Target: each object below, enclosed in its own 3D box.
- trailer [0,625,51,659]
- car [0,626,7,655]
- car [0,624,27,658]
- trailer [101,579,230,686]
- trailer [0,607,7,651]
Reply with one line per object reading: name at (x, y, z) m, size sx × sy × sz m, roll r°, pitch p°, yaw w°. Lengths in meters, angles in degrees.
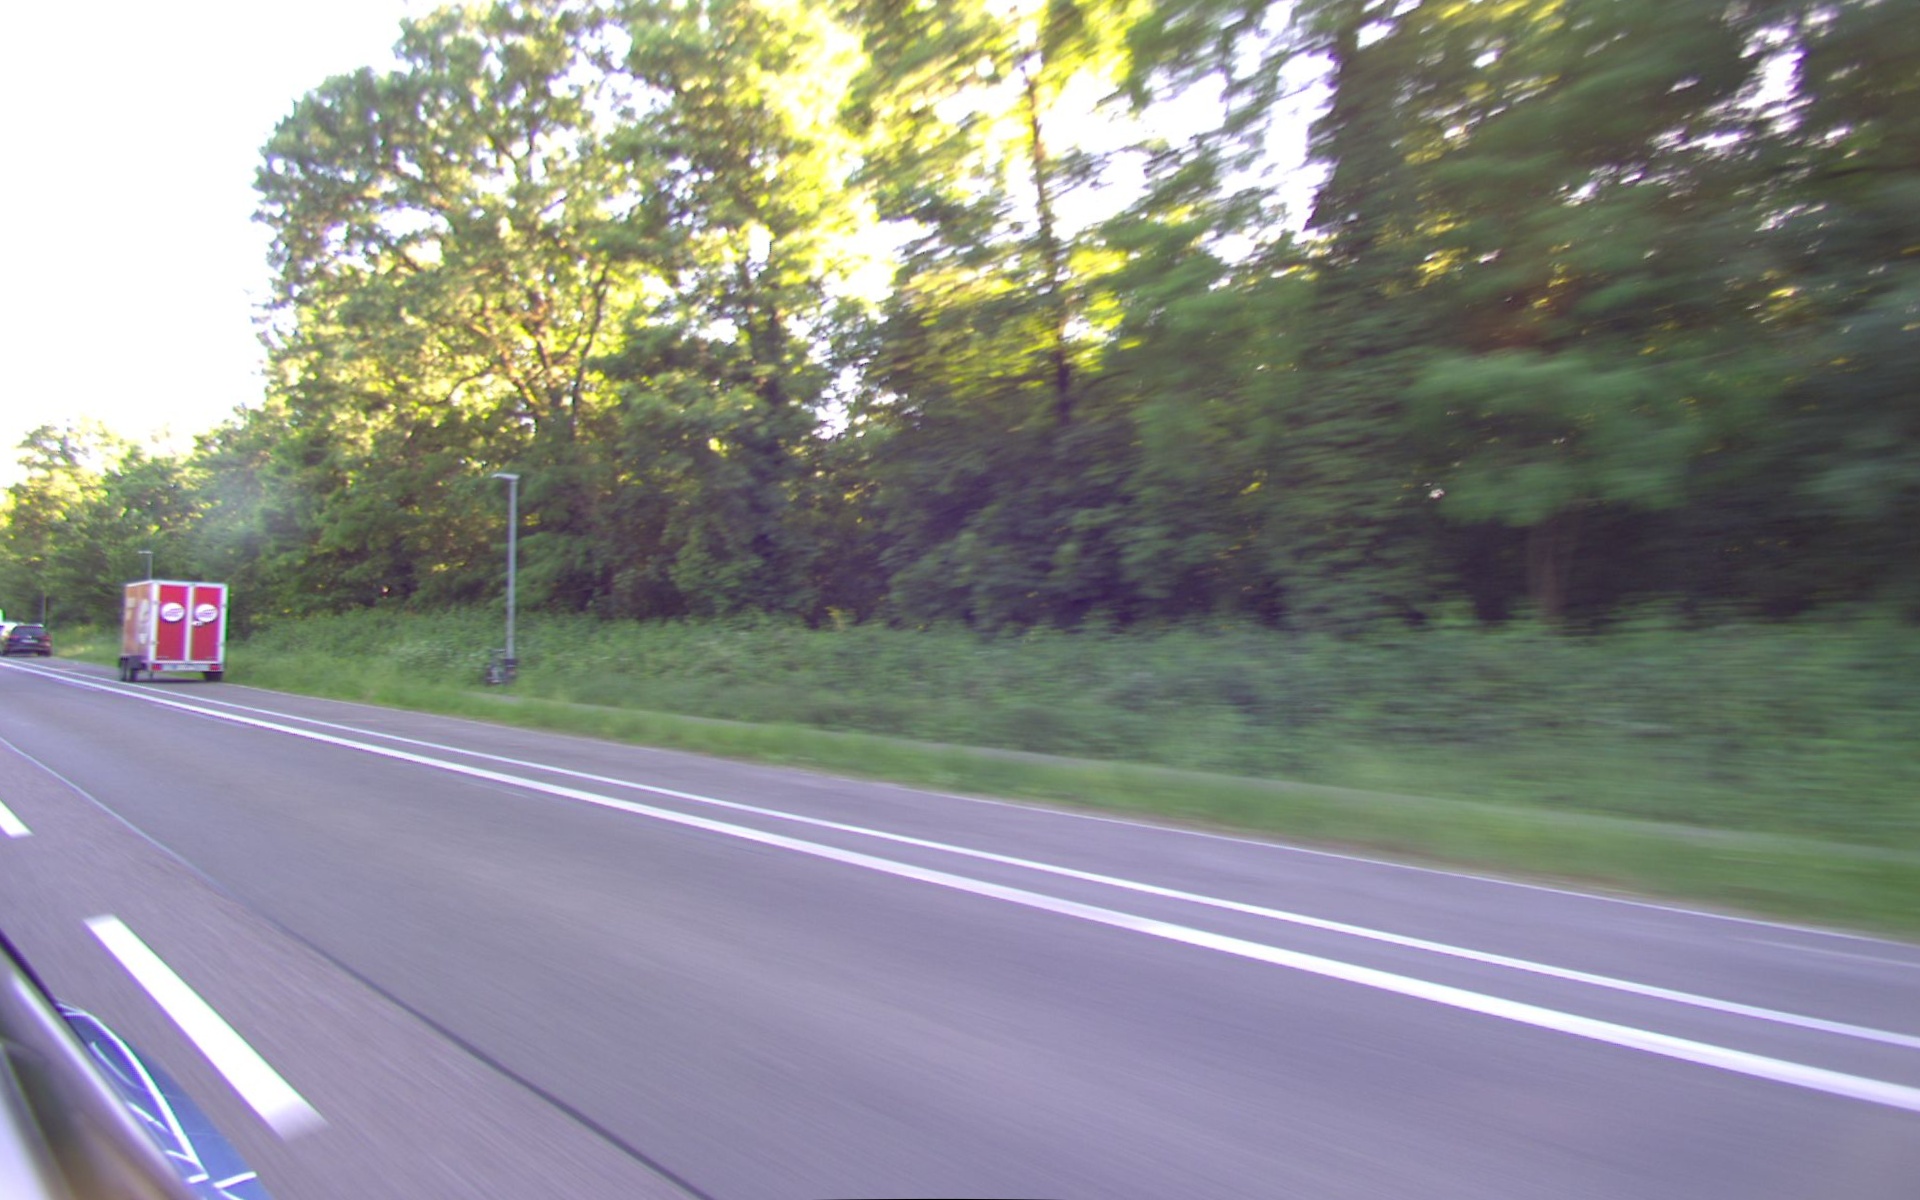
trailer at (-43.058, 1.894, 46.161) m, size 4.464 × 1.477 × 1.822 m, roll -1°, pitch -1°, yaw 41°
car at (-52.727, 2.122, 54.437) m, size 4.192 × 1.506 × 1.653 m, roll -1°, pitch -5°, yaw 41°
car at (-48.028, 2.008, 50.416) m, size 5.125 × 1.586 × 1.653 m, roll -1°, pitch -5°, yaw 41°
trailer at (-21.269, 0.845, 27.039) m, size 4.084 × 2.641 × 1.973 m, roll -1°, pitch -2°, yaw 41°
trailer at (-57.686, 1.688, 59.072) m, size 4.338 × 2.548 × 2.324 m, roll -1°, pitch -2°, yaw 38°
